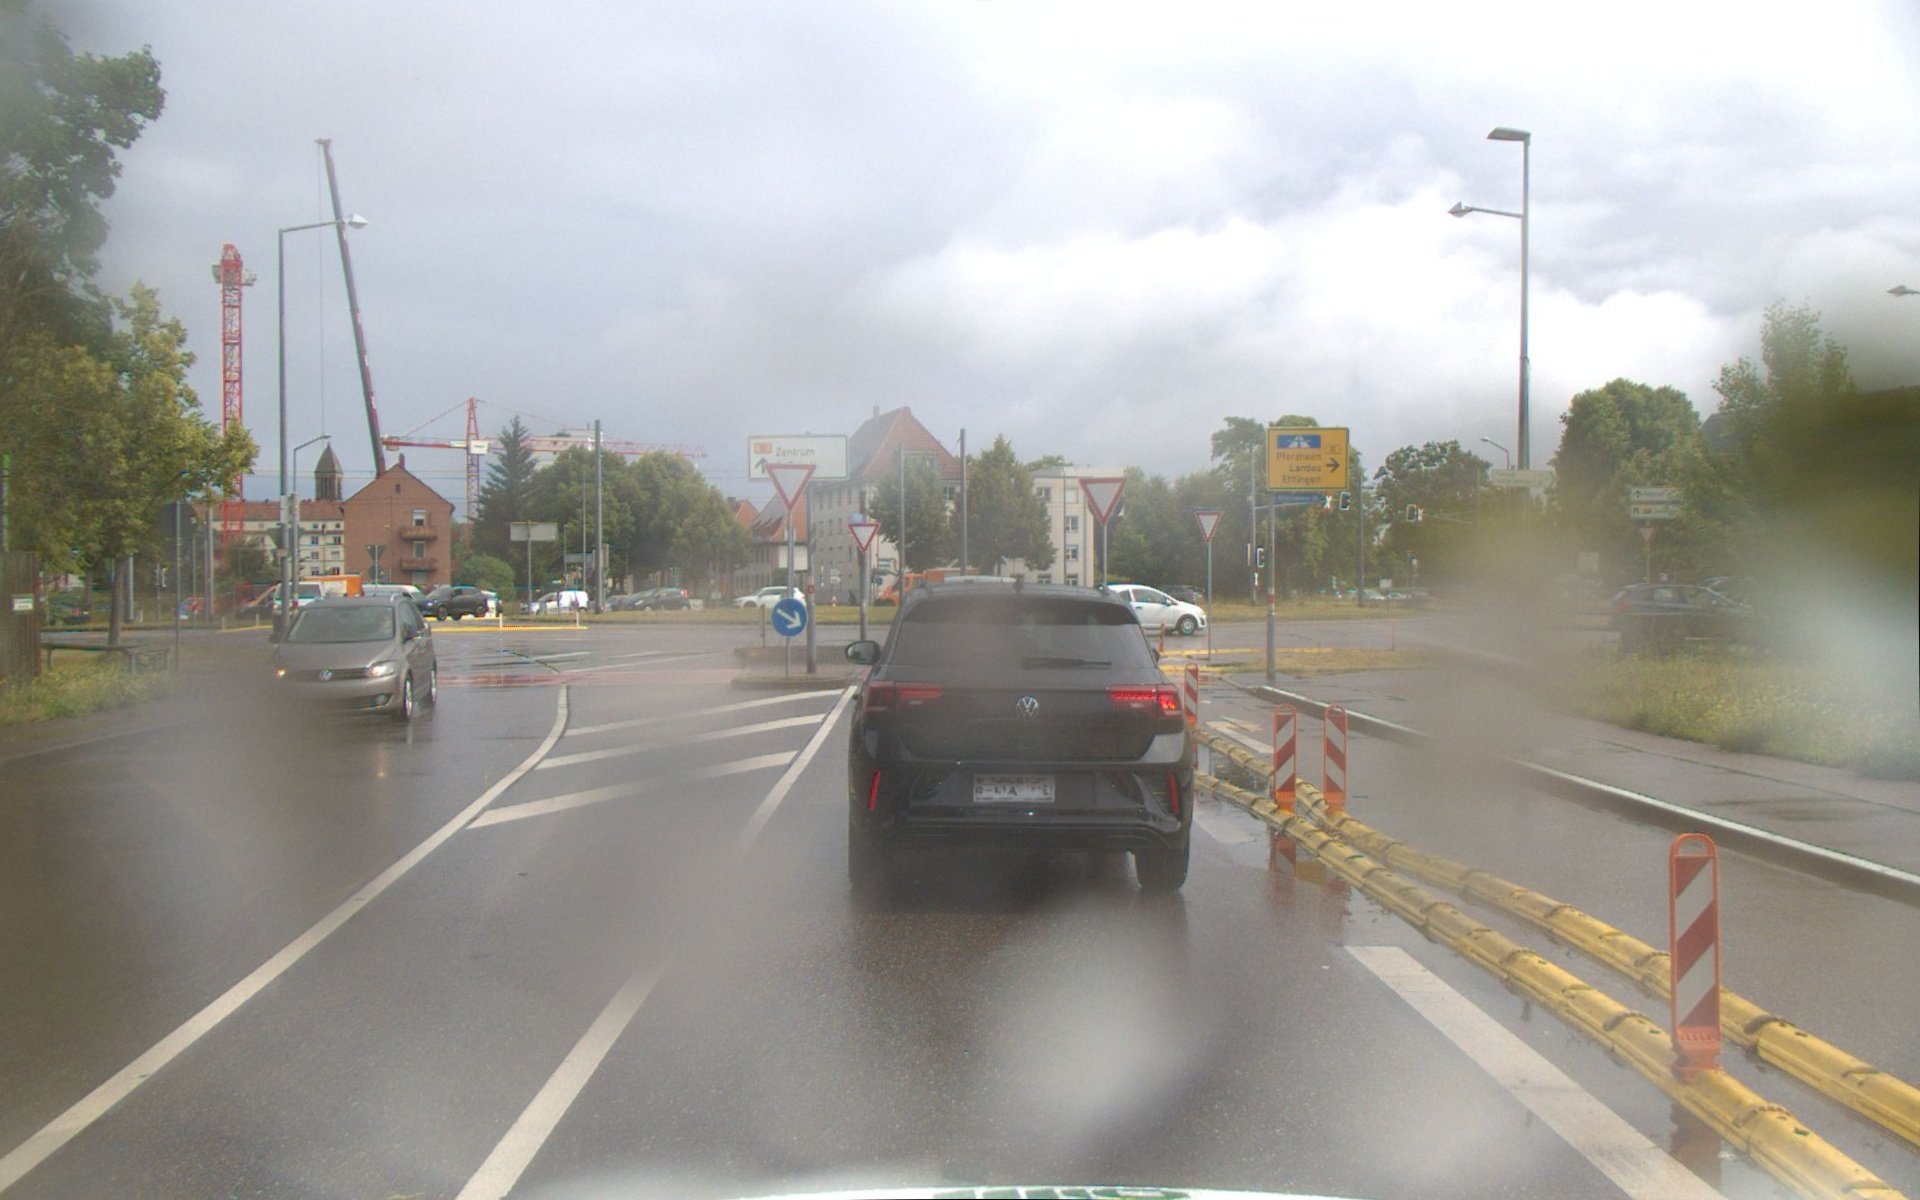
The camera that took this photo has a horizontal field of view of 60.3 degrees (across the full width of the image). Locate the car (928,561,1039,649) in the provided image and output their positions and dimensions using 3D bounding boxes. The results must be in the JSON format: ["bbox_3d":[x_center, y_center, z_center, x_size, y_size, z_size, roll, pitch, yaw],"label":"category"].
[{"bbox_3d":[0.591,0.093,37.039,1.824,1.841,4.408,0,0,10],"label":"car"}]

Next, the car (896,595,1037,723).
[{"bbox_3d":[0.014,0.715,22.007,1.700,1.540,3.602,0,0,-3],"label":"car"}]

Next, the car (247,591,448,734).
[{"bbox_3d":[-7.906,0.727,21.724,1.750,1.579,4.413,-3,1,-12],"label":"car"}]

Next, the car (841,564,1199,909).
[{"bbox_3d":[0.171,0.641,9.602,1.675,1.601,3.680,1,0,-4],"label":"car"}]

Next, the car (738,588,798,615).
[{"bbox_3d":[-11.937,0.078,102.729,3.444,1.612,1.558,0,0,-21],"label":"car"}]

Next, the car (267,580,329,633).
[{"bbox_3d":[-25.046,0.240,62.731,1.859,1.909,5.105,-1,0,-19],"label":"car"}]

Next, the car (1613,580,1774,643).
[{"bbox_3d":[20.012,0.287,45.294,3.858,1.673,1.672,0,0,17],"label":"car"}]

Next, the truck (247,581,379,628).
[{"bbox_3d":[-35.550,0.221,90.935,6.619,2.485,2.414,-1,0,-26],"label":"truck"}]

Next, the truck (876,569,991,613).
[{"bbox_3d":[-1.662,-0.549,101.021,6.927,2.696,2.328,0,0,-4],"label":"truck"}]

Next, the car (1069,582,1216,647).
[{"bbox_3d":[5.418,0.406,49.198,3.920,1.862,1.992,-1,0,-15],"label":"car"}]
